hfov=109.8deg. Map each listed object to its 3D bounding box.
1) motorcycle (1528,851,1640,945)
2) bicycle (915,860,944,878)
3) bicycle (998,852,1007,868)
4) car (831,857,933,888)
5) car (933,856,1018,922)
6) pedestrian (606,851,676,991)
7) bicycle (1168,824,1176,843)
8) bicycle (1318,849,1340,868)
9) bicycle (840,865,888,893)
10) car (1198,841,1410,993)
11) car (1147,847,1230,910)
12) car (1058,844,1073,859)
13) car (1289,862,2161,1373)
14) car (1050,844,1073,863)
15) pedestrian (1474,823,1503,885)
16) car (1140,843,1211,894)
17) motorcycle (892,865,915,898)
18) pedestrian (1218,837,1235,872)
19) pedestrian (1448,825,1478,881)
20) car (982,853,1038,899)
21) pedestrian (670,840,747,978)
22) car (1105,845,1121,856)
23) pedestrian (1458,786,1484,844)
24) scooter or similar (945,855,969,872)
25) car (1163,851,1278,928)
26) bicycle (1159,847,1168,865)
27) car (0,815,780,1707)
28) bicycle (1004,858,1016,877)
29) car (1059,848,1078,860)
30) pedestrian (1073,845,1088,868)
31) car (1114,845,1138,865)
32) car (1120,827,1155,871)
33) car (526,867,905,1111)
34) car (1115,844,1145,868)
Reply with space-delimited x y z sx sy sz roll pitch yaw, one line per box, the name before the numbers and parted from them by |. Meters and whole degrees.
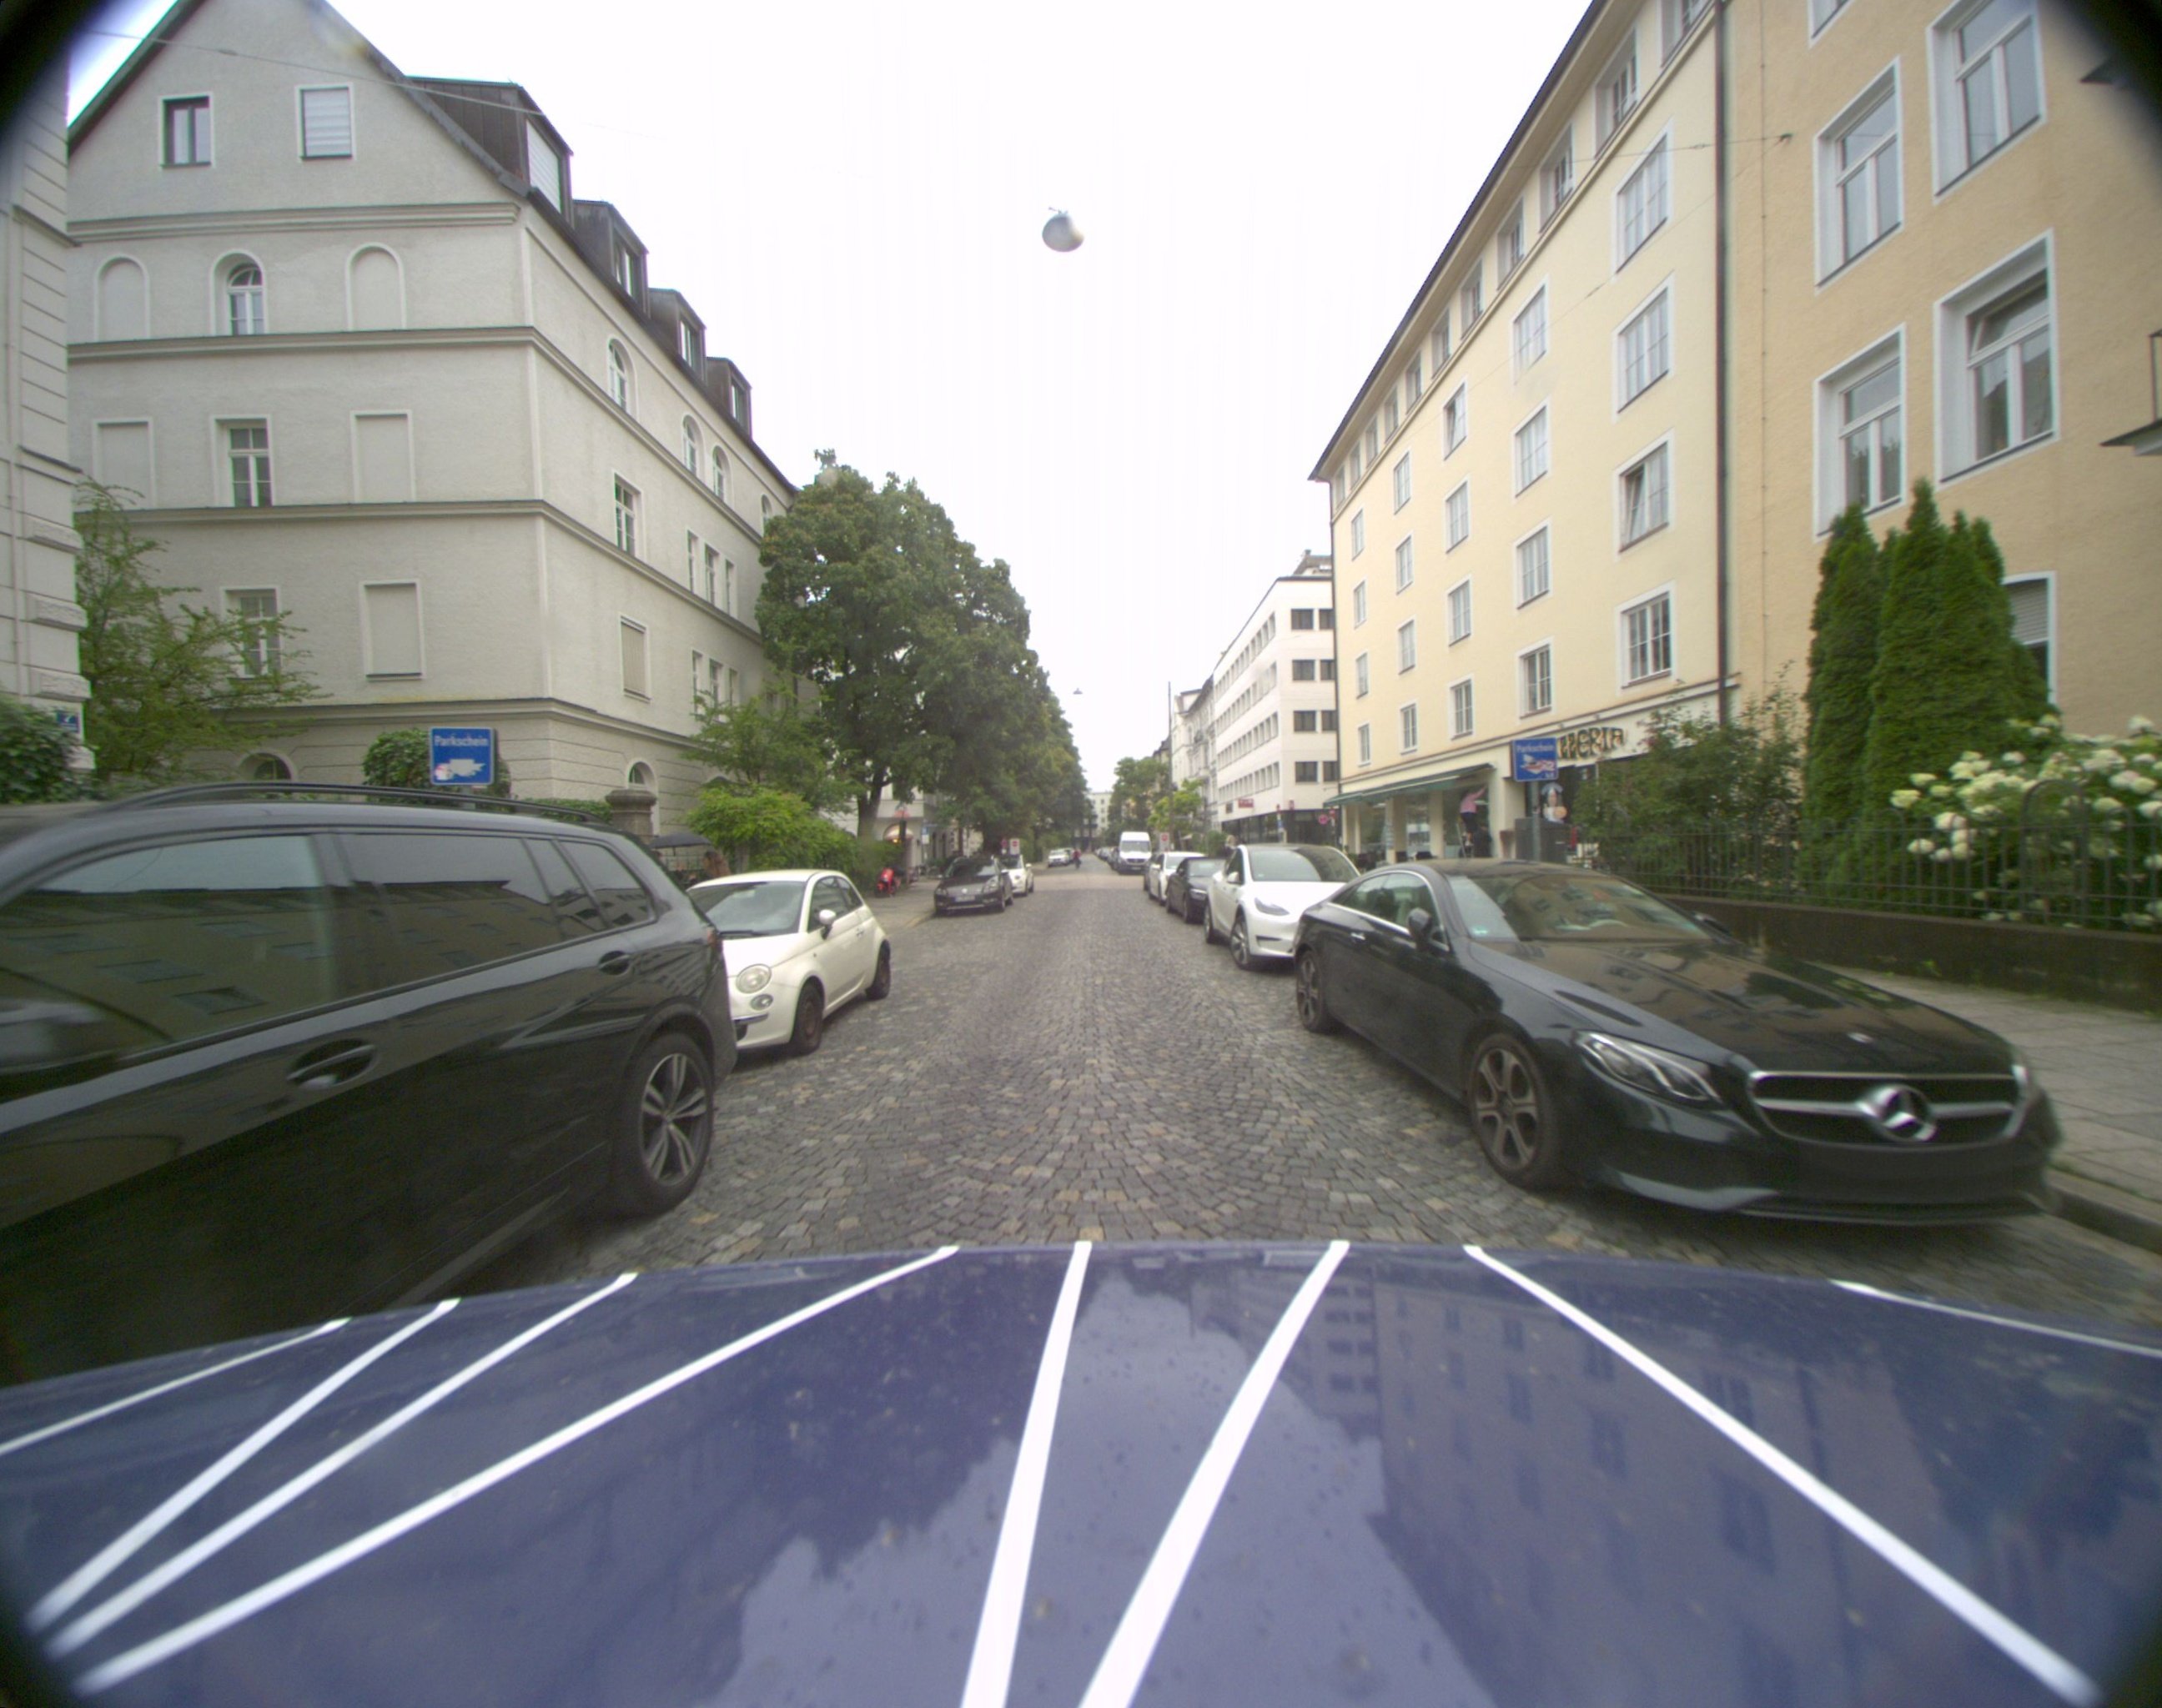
motorcycle | 7.013 0.569 10.677 0.492 1.187 1.579 -3 1 0
bicycle | -9.186 0.908 46.107 1.605 1.064 0.738 0 5 4
bicycle | -6.123 0.482 59.013 0.428 1.191 1.730 3 2 2
car | -9.796 0.884 37.516 4.476 1.350 1.761 -2 1 8
car | -2.842 0.889 21.392 1.652 1.414 4.631 -6 1 0
pedestrian | -5.939 0.875 10.289 0.630 1.798 0.659 -3 2 -22
bicycle | 5.468 -1.231 45.712 0.256 1.120 1.806 -3 1 0
bicycle | 13.705 0.225 42.015 0.398 0.963 1.893 -3 1 -5
bicycle | -9.035 1.053 31.644 1.841 1.118 0.563 -1 1 10
car | 2.859 0.679 10.797 1.778 1.638 4.390 -3 1 2
car | 3.018 0.624 22.197 1.778 1.527 4.539 -3 1 1
car | -2.060 -0.349 101.835 1.818 1.809 4.807 -2 1 0
car | 2.747 0.868 4.598 1.778 1.421 4.390 -3 1 1
car | -1.942 -0.078 76.852 1.925 1.676 4.633 -2 2 2
pedestrian | 11.434 -0.002 21.320 0.462 1.681 0.574 -3 2 1
car | 3.342 0.442 27.711 1.857 1.577 4.746 -3 1 -1
motorcycle | -6.302 0.963 27.085 0.363 1.084 1.403 -2 1 3
pedestrian | 7.709 0.000 40.377 0.615 1.830 0.813 -2 2 -6
pedestrian | 11.405 -0.032 22.699 0.523 1.633 0.629 -3 2 0
car | -2.515 0.744 27.680 1.505 1.463 3.795 -2 1 2
pedestrian | -5.148 0.736 10.543 0.577 1.839 0.682 -2 1 8
car | 4.241 -0.503 101.460 1.886 1.411 4.808 -3 1 0
pedestrian | 11.271 -1.111 21.974 0.478 1.633 0.497 -2 2 5
scooter or similar | -8.322 0.643 51.099 1.604 1.166 0.405 -1 2 24
car | 2.981 0.692 17.132 1.778 1.352 4.390 -3 1 1
bicycle | 5.016 0.099 46.108 0.286 1.085 1.815 -2 1 -1
car | -2.808 0.792 1.955 1.880 1.663 5.489 -3 1 -1
bicycle | -4.660 0.880 49.744 0.389 1.140 1.590 -2 1 8
car | -1.485 -0.024 88.885 1.924 1.291 4.806 -3 1 -4
pedestrian | -0.008 0.185 61.613 1.105 1.768 1.263 -3 2 1
car | 3.512 0.032 59.409 1.730 1.456 4.473 0 1 2
car | 3.479 -0.350 47.545 1.981 2.559 5.794 0 1 3
car | -2.974 0.979 7.134 1.634 1.461 3.658 -4 1 1
car | 3.385 0.102 52.900 1.666 1.474 3.980 -3 1 -1
